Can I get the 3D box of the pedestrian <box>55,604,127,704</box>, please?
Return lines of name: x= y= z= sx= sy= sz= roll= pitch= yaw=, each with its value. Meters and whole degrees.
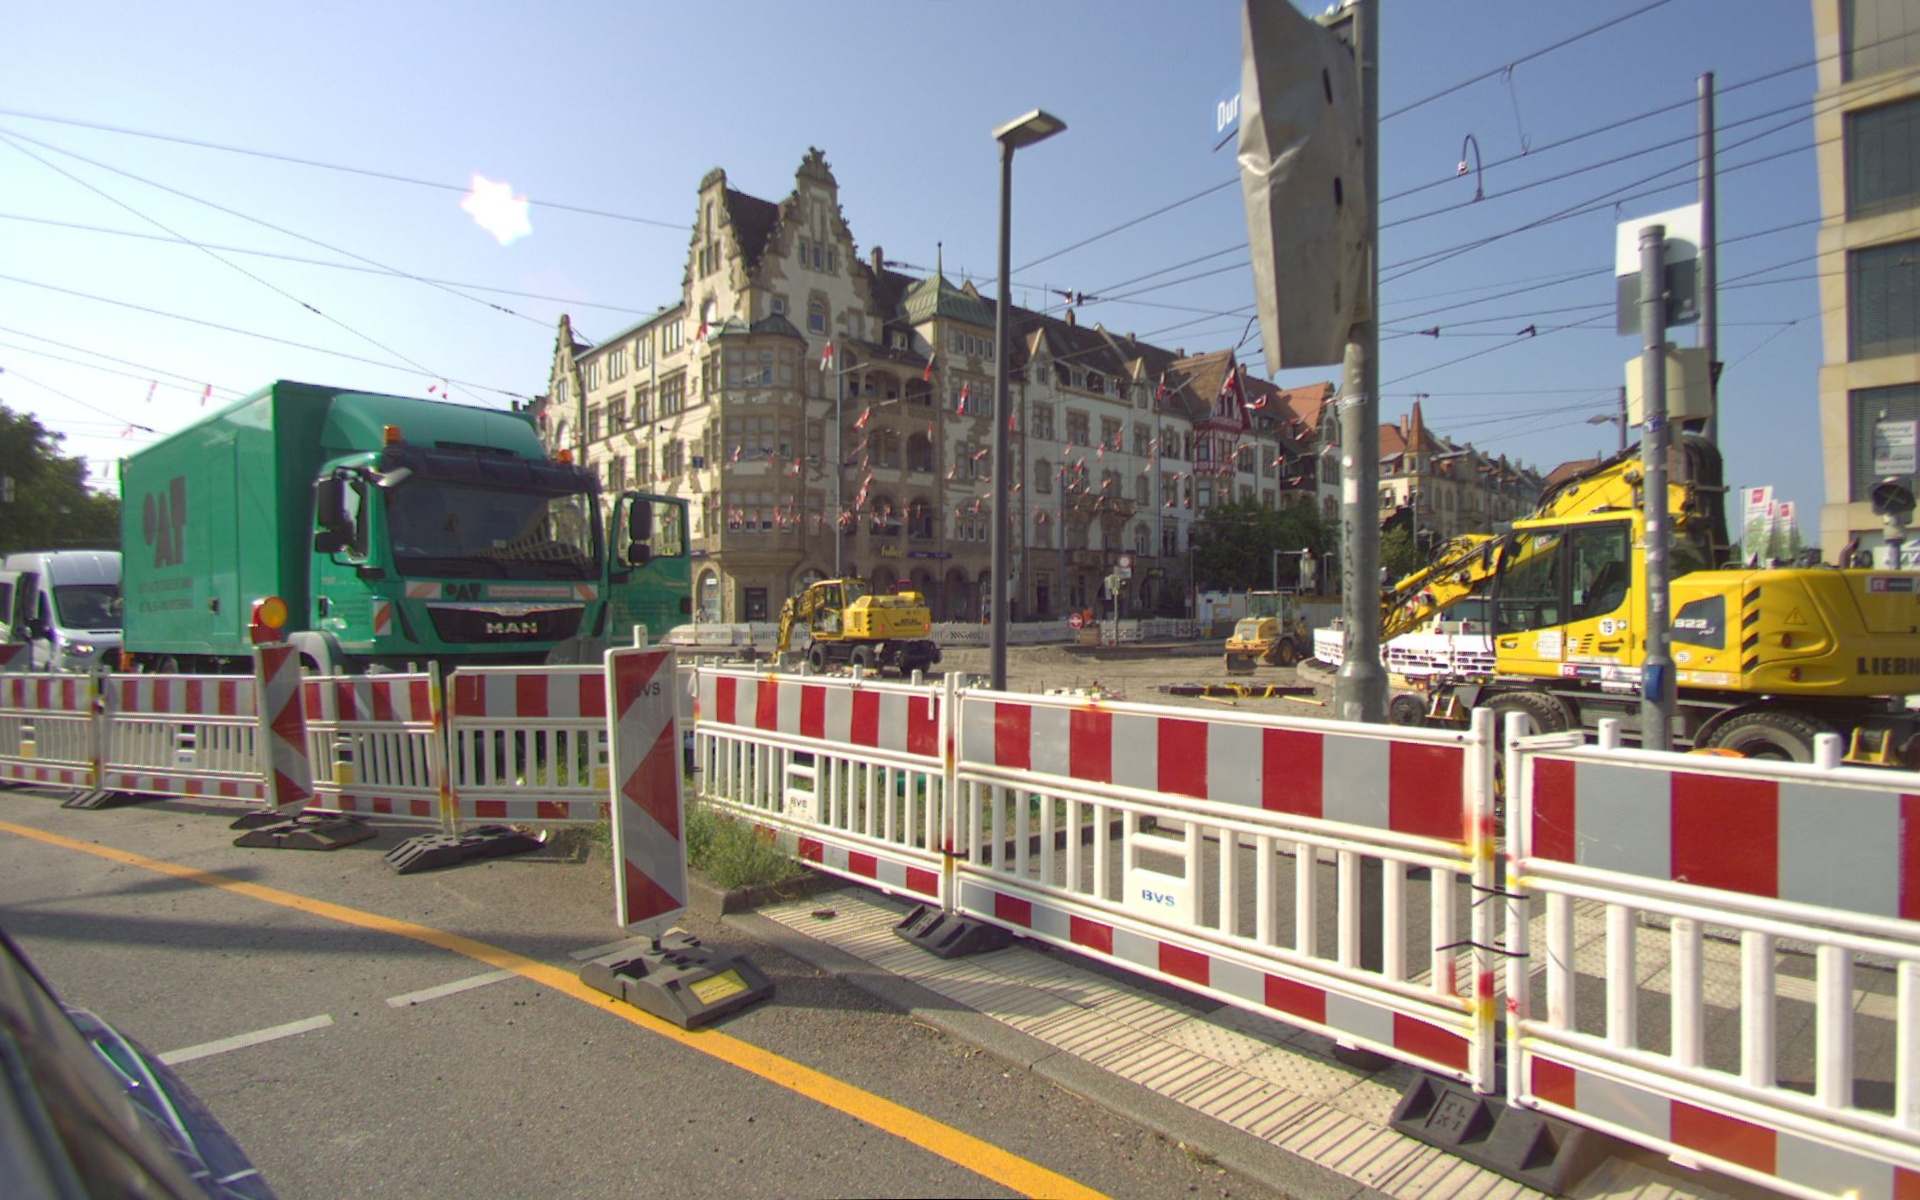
pedestrian: x=-18.051 y=1.113 z=21.033 sx=0.724 sy=2.029 sz=0.909 roll=1 pitch=-2 yaw=-9

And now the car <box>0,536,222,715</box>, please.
car: x=-15.364 y=0.427 z=18.041 sx=5.163 sy=2.750 sz=2.204 roll=-1 pitch=-1 yaw=38

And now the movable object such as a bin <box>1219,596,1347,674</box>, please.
movable object such as a bin: x=12.408 y=1.303 z=38.700 sx=5.544 sy=2.760 sz=2.138 roll=1 pitch=-2 yaw=-42

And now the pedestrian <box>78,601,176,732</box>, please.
pedestrian: x=-11.260 y=0.881 z=13.702 sx=0.696 sy=1.706 sz=0.766 roll=0 pitch=-1 yaw=-5

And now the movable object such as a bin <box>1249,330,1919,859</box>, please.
movable object such as a bin: x=7.666 y=0.092 z=12.509 sx=3.455 sy=4.044 sz=9.068 roll=1 pitch=-2 yaw=-17

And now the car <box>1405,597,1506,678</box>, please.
car: x=13.787 y=1.036 z=28.454 sx=1.802 sy=2.046 sz=5.088 roll=0 pitch=-2 yaw=18

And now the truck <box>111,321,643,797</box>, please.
truck: x=-7.078 y=-0.237 z=11.559 sx=8.208 sy=3.706 sz=2.646 roll=-1 pitch=-2 yaw=41

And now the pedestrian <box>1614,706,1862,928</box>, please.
pedestrian: x=4.879 y=1.312 z=6.386 sx=0.968 sy=1.199 sz=0.801 roll=1 pitch=-2 yaw=-17

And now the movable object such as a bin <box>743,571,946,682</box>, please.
movable object such as a bin: x=-4.192 y=0.883 z=34.626 sx=2.810 sy=3.355 sz=8.361 roll=2 pitch=-2 yaw=-39

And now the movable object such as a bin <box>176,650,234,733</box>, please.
movable object such as a bin: x=-11.136 y=1.318 z=14.928 sx=0.635 sy=1.100 sz=1.484 roll=1 pitch=-1 yaw=-37

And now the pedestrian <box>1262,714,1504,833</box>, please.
pedestrian: x=3.303 y=1.289 z=7.843 sx=1.877 sy=0.641 sz=0.914 roll=1 pitch=-2 yaw=-37

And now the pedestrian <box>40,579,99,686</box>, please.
pedestrian: x=-17.361 y=0.630 z=19.746 sx=0.724 sy=2.029 sz=0.909 roll=2 pitch=-2 yaw=-35

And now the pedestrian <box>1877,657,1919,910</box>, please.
pedestrian: x=5.712 y=0.964 z=5.275 sx=1.294 sy=1.316 sz=0.801 roll=1 pitch=-2 yaw=-17
